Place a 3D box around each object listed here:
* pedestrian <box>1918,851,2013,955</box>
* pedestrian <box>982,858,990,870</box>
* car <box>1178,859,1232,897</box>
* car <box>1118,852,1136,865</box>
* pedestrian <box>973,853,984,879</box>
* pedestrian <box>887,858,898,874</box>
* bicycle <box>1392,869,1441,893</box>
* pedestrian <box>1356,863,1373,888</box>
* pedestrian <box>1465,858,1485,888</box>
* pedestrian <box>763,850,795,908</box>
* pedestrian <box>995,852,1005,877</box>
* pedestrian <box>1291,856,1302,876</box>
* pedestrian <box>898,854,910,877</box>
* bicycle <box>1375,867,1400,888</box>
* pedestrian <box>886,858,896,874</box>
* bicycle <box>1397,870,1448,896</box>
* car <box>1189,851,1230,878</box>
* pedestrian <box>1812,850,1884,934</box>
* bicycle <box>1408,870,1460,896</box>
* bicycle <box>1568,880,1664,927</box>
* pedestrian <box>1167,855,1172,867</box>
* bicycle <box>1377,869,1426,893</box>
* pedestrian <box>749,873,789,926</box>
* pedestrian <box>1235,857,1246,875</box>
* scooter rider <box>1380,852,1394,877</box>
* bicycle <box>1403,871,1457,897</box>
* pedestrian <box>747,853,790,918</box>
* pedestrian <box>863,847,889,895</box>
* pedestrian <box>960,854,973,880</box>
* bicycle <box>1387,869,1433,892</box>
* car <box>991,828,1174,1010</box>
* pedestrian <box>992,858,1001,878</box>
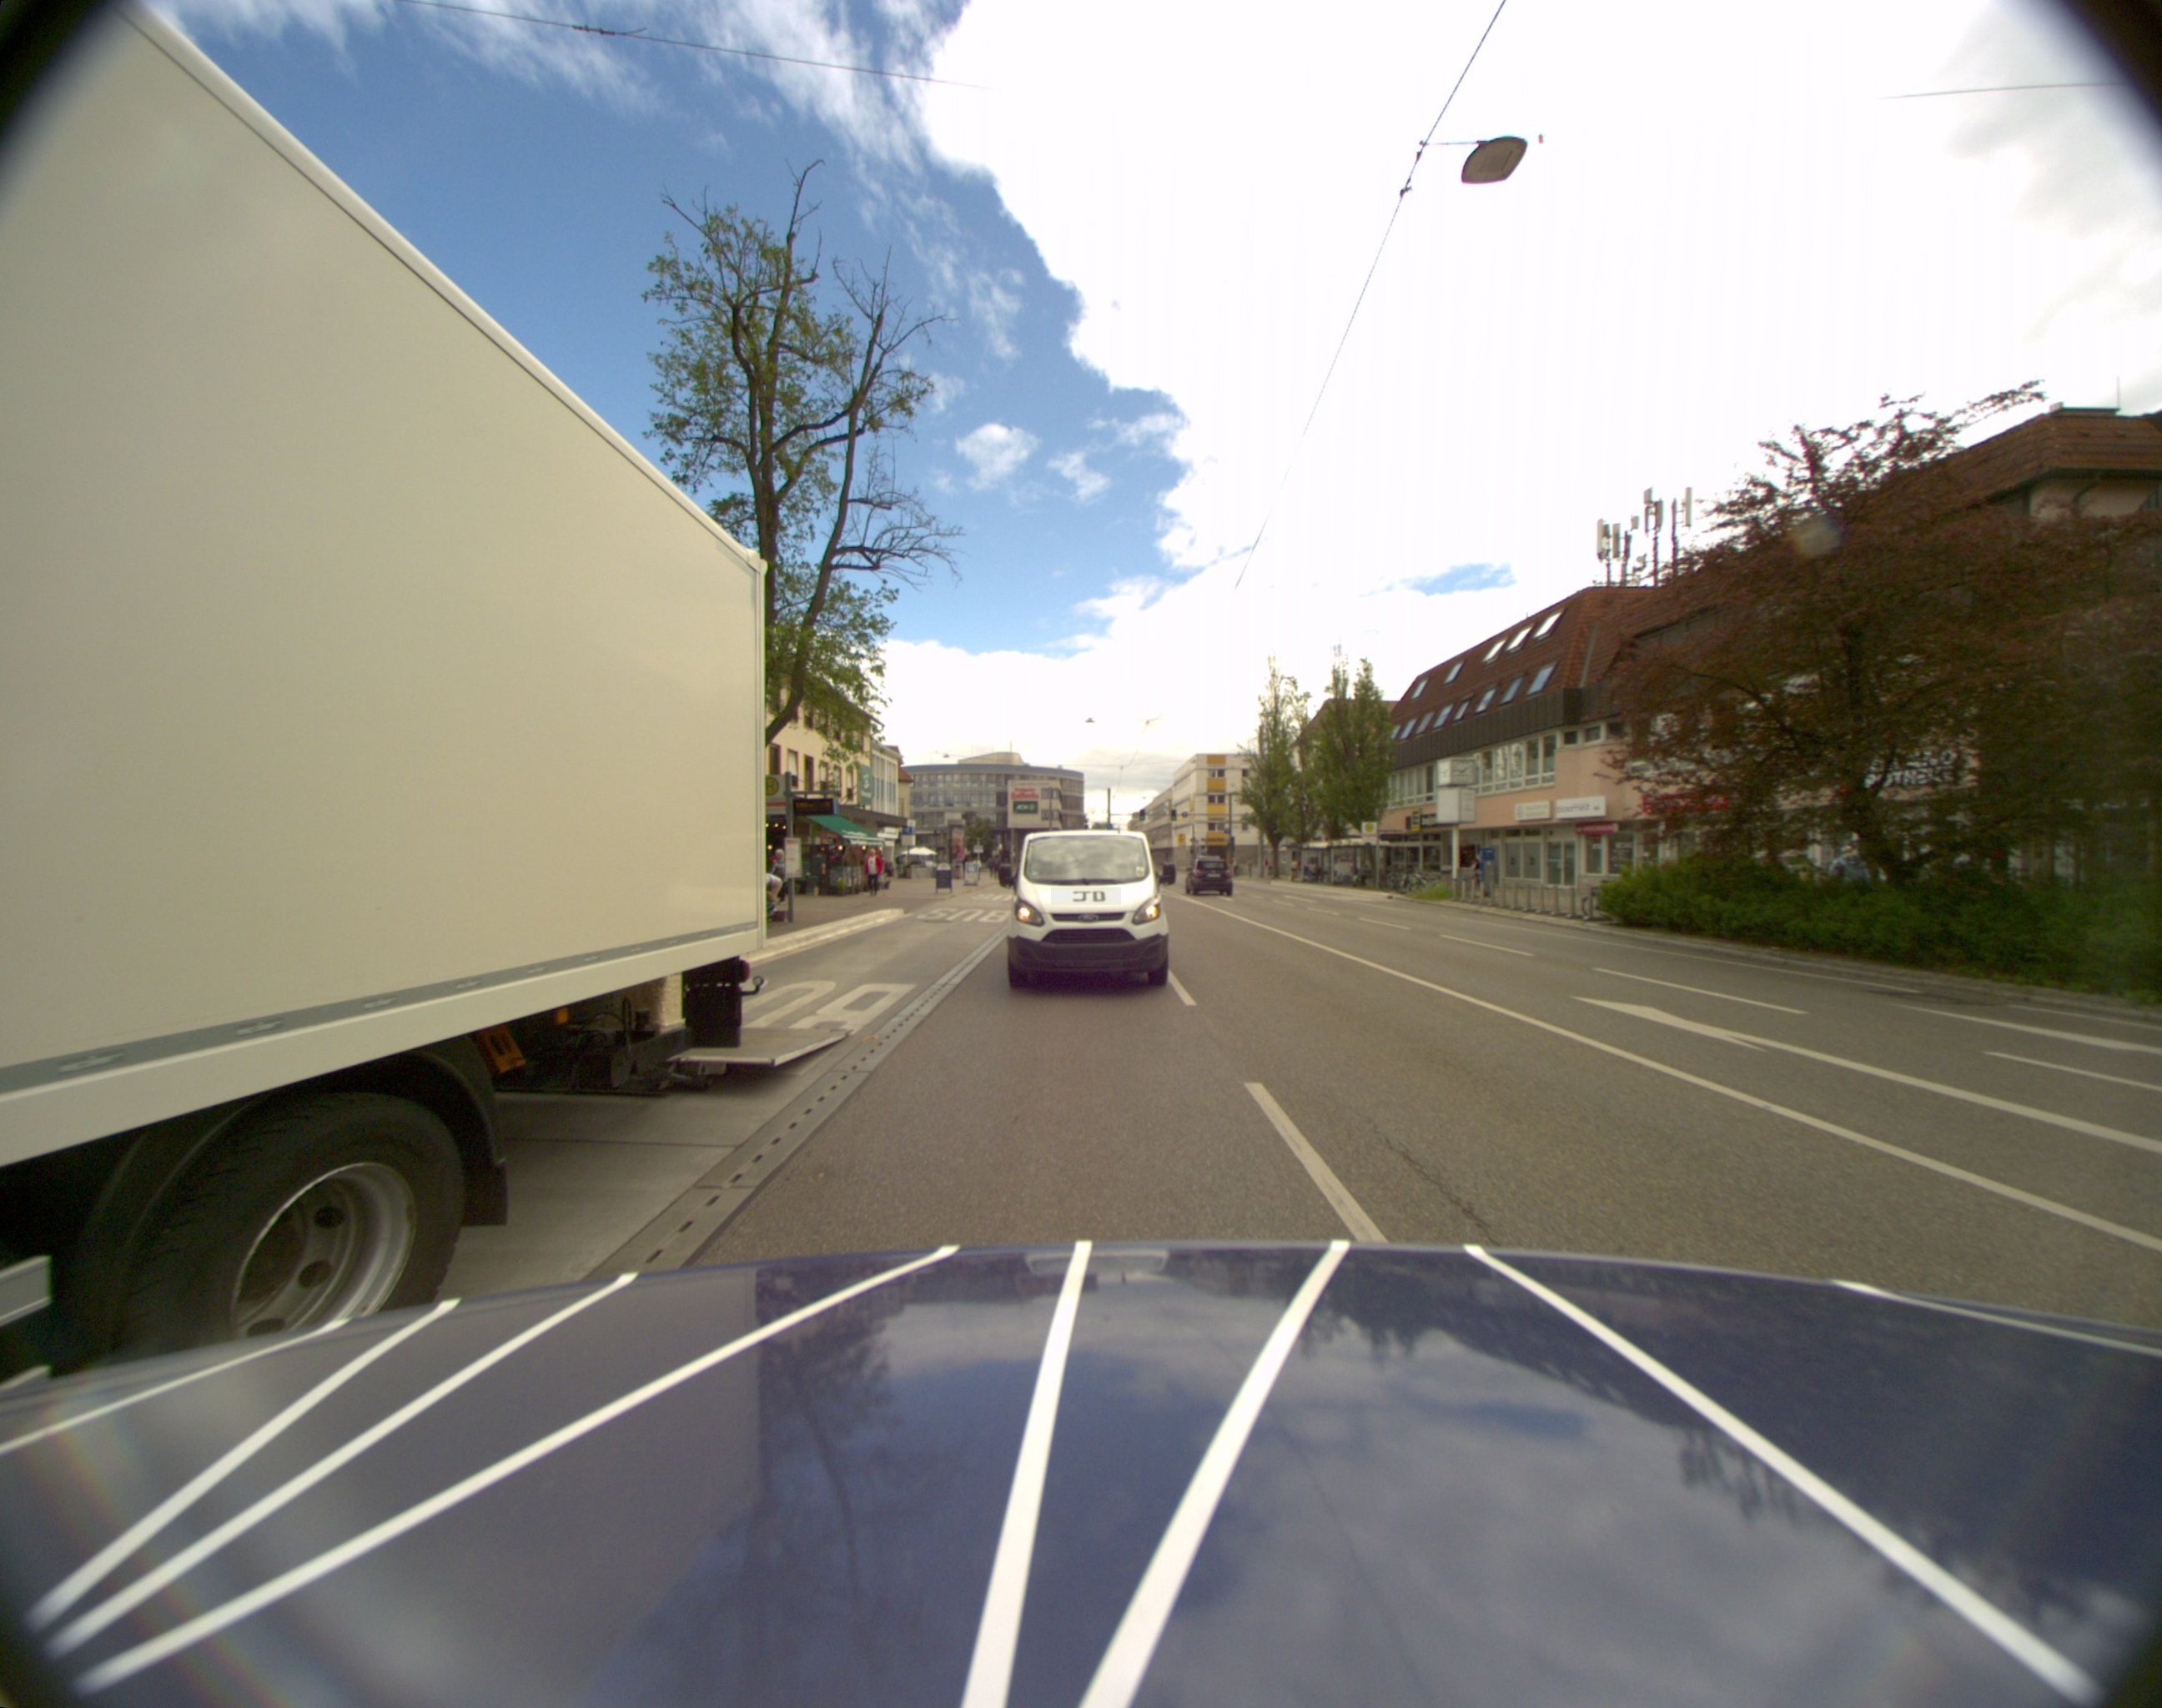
[{"bbox_3d":[15.729,0.854,13.530,0.727,1.753,0.755,-3,0,-2],"label":"pedestrian"},{"bbox_3d":[-12.898,1.345,103.256,0.847,1.625,0.643,-3,0,-33],"label":"pedestrian"},{"bbox_3d":[5.250,0.988,32.420,1.575,1.531,2.959,1,0,-5],"label":"car"},{"bbox_3d":[5.475,0.491,90.628,1.879,1.497,4.343,1,0,1],"label":"car"},{"bbox_3d":[-6.517,0.742,48.348,0.614,1.625,0.615,1,1,-3],"label":"pedestrian"},{"bbox_3d":[-14.870,0.915,59.929,0.614,1.213,0.588,-3,0,-2],"label":"pedestrian"},{"bbox_3d":[15.271,1.211,34.600,2.024,1.084,0.648,0,0,-9],"label":"bicycle"},{"bbox_3d":[15.953,1.200,42.792,0.713,1.356,0.588,-1,0,2],"label":"pedestrian"},{"bbox_3d":[20.472,0.979,39.446,0.713,1.538,0.588,-1,0,-1],"label":"pedestrian"},{"bbox_3d":[-9.396,0.766,23.645,0.684,1.732,0.781,2,2,-5],"label":"pedestrian"},{"bbox_3d":[-5.587,0.732,52.383,0.613,1.668,0.615,1,0,2],"label":"pedestrian"},{"bbox_3d":[18.093,1.006,63.801,0.587,1.625,0.615,-3,0,-2],"label":"pedestrian"},{"bbox_3d":[-12.218,0.796,52.502,0.668,1.625,0.800,0,0,-2],"label":"pedestrian"},{"bbox_3d":[16.778,1.250,41.622,0.535,1.084,1.930,-1,0,-2],"label":"bicycle"},{"bbox_3d":[-14.820,0.912,59.300,0.614,1.213,0.588,1,0,-2],"label":"pedestrian"},{"bbox_3d":[14.998,1.268,33.393,2.024,1.084,0.648,0,0,-9],"label":"bicycle"},{"bbox_3d":[8.870,0.680,52.947,2.074,1.728,4.693,2,0,1],"label":"car"},{"bbox_3d":[16.927,0.826,16.784,0.727,1.753,0.756,-4,0,4],"label":"pedestrian"},{"bbox_3d":[15.179,1.231,32.697,2.024,1.084,0.648,0,0,-9],"label":"bicycle"},{"bbox_3d":[12.911,1.179,18.345,2.024,1.084,0.648,0,0,-9],"label":"bicycle"},{"bbox_3d":[13.369,1.109,114.365,0.587,1.792,0.526,-3,0,0],"label":"pedestrian"},{"bbox_3d":[15.030,1.247,35.654,2.024,1.084,0.649,0,0,-5],"label":"bicycle"},{"bbox_3d":[-7.142,1.033,17.422,0.714,1.159,0.587,-1,0,-6],"label":"pedestrian"},{"bbox_3d":[14.521,1.117,69.047,0.702,1.625,0.614,-3,0,-11],"label":"pedestrian"},{"bbox_3d":[21.376,0.738,53.037,0.615,1.702,0.588,-3,0,-3],"label":"scooter rider"},{"bbox_3d":[14.617,1.253,31.808,2.024,1.084,0.648,0,0,-9],"label":"bicycle"},{"bbox_3d":[-8.142,0.818,19.835,0.614,1.625,0.795,3,0,12],"label":"pedestrian"},{"bbox_3d":[-7.726,0.635,28.688,0.797,1.732,0.781,2,2,-5],"label":"pedestrian"},{"bbox_3d":[-7.256,0.831,48.284,0.720,1.625,0.615,1,1,-3],"label":"pedestrian"},{"bbox_3d":[15.830,1.264,36.582,2.025,1.084,0.648,-1,0,-14],"label":"bicycle"},{"bbox_3d":[0.151,0.739,10.907,1.998,2.002,5.000,-1,0,3],"label":"car"},{"bbox_3d":[-7.068,1.160,63.544,0.689,1.625,0.853,0,0,-1],"label":"pedestrian"}]
